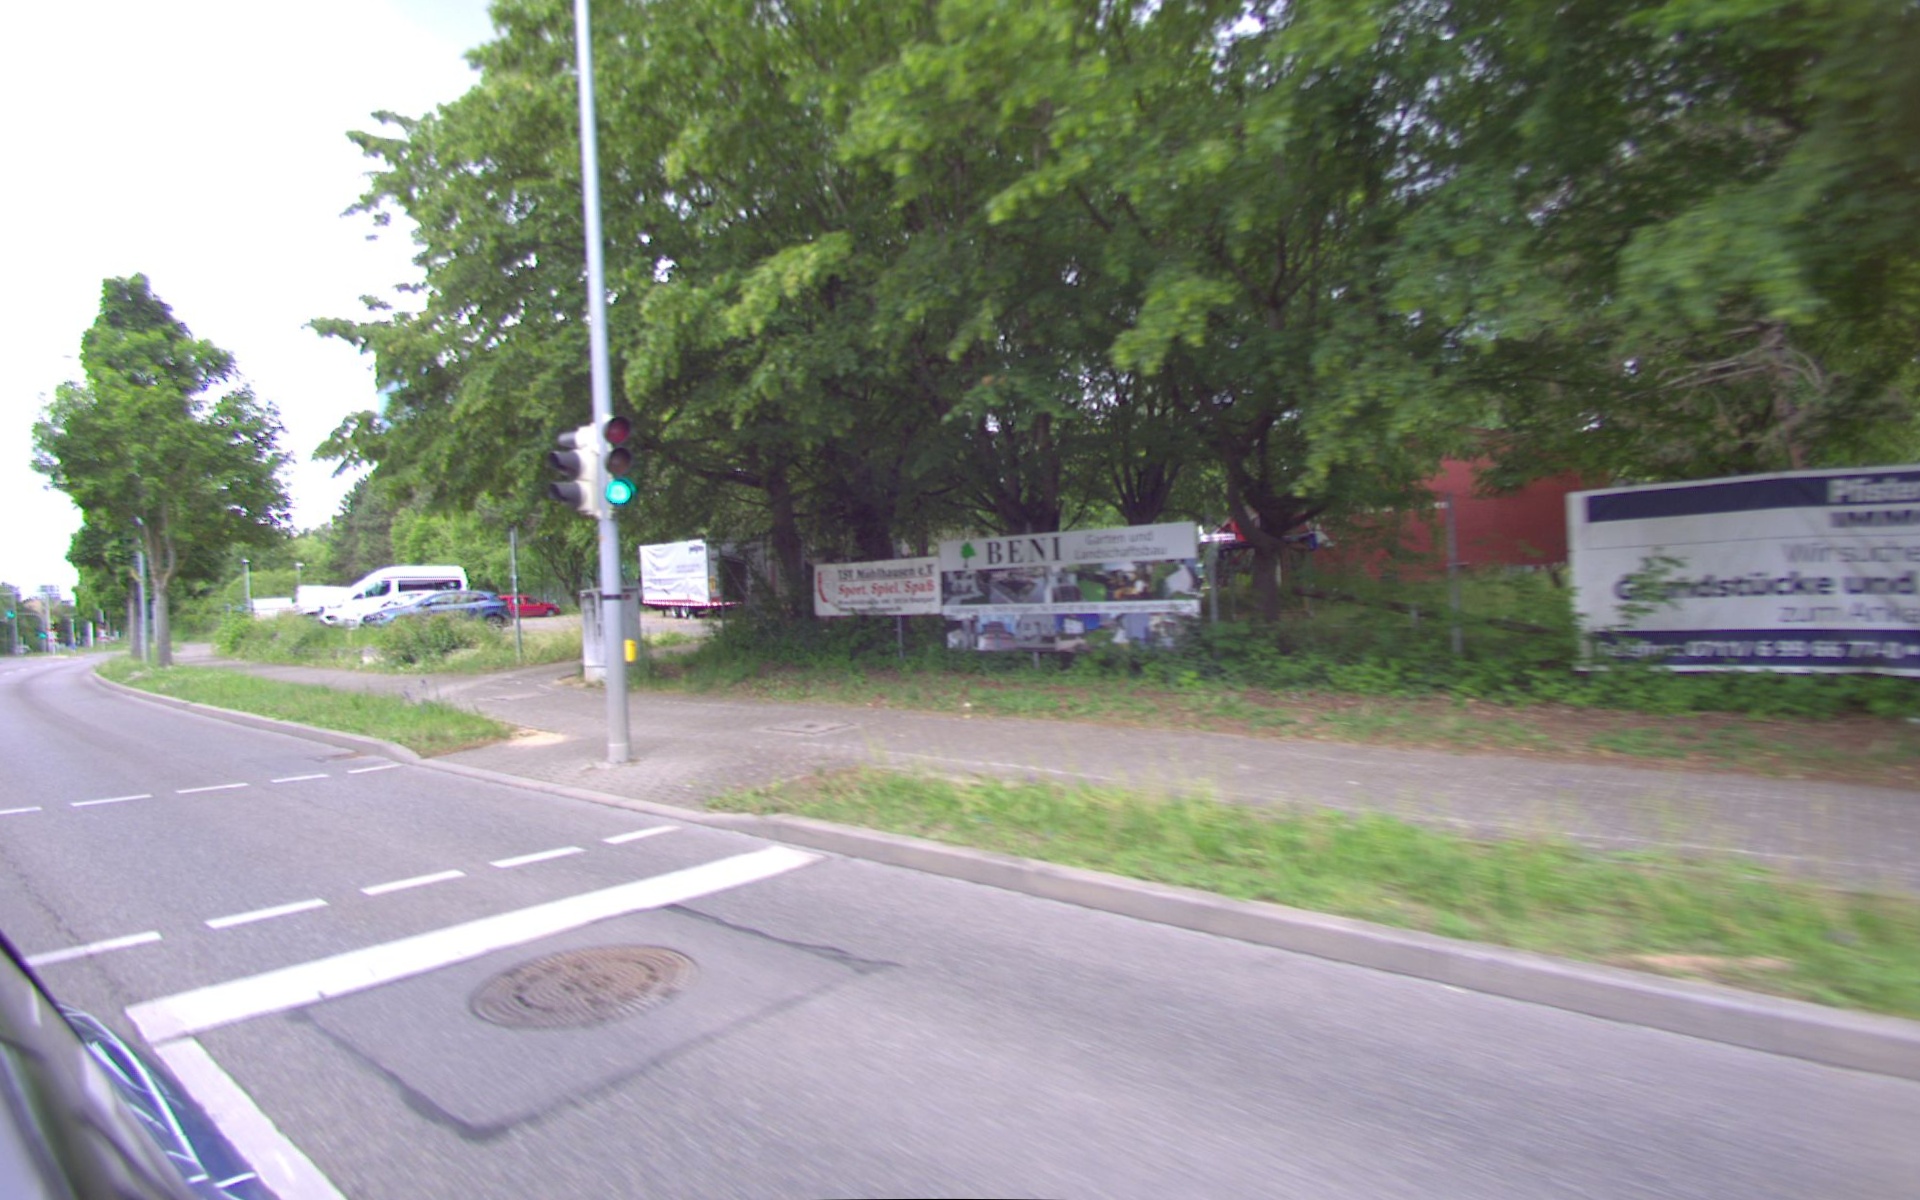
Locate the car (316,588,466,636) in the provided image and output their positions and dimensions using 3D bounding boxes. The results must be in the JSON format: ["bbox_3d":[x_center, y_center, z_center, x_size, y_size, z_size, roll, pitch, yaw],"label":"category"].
[{"bbox_3d":[-22.600,0.469,40.277,4.929,1.559,2.102,-4,0,-37],"label":"car"}]

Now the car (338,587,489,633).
[{"bbox_3d":[-18.828,0.322,34.995,4.324,1.326,1.565,-4,0,-41],"label":"car"}]

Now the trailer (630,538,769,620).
[{"bbox_3d":[-10.908,-0.800,41.838,2.615,3.097,7.207,-4,1,-40],"label":"trailer"}]

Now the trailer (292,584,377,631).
[{"bbox_3d":[-30.167,0.345,48.824,3.322,2.073,1.682,-2,-1,-36],"label":"trailer"}]

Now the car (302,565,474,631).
[{"bbox_3d":[-21.027,-0.094,37.332,5.093,2.122,2.218,-4,0,-41],"label":"car"}]

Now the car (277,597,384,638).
[{"bbox_3d":[-28.934,0.809,46.567,3.982,1.596,2.004,-4,0,-37],"label":"car"}]

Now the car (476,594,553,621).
[{"bbox_3d":[-28.038,0.481,63.711,4.047,1.428,1.906,-4,0,-37],"label":"car"}]

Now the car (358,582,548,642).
[{"bbox_3d":[-16.157,0.356,32.453,5.093,1.573,1.888,-4,0,-41],"label":"car"}]
